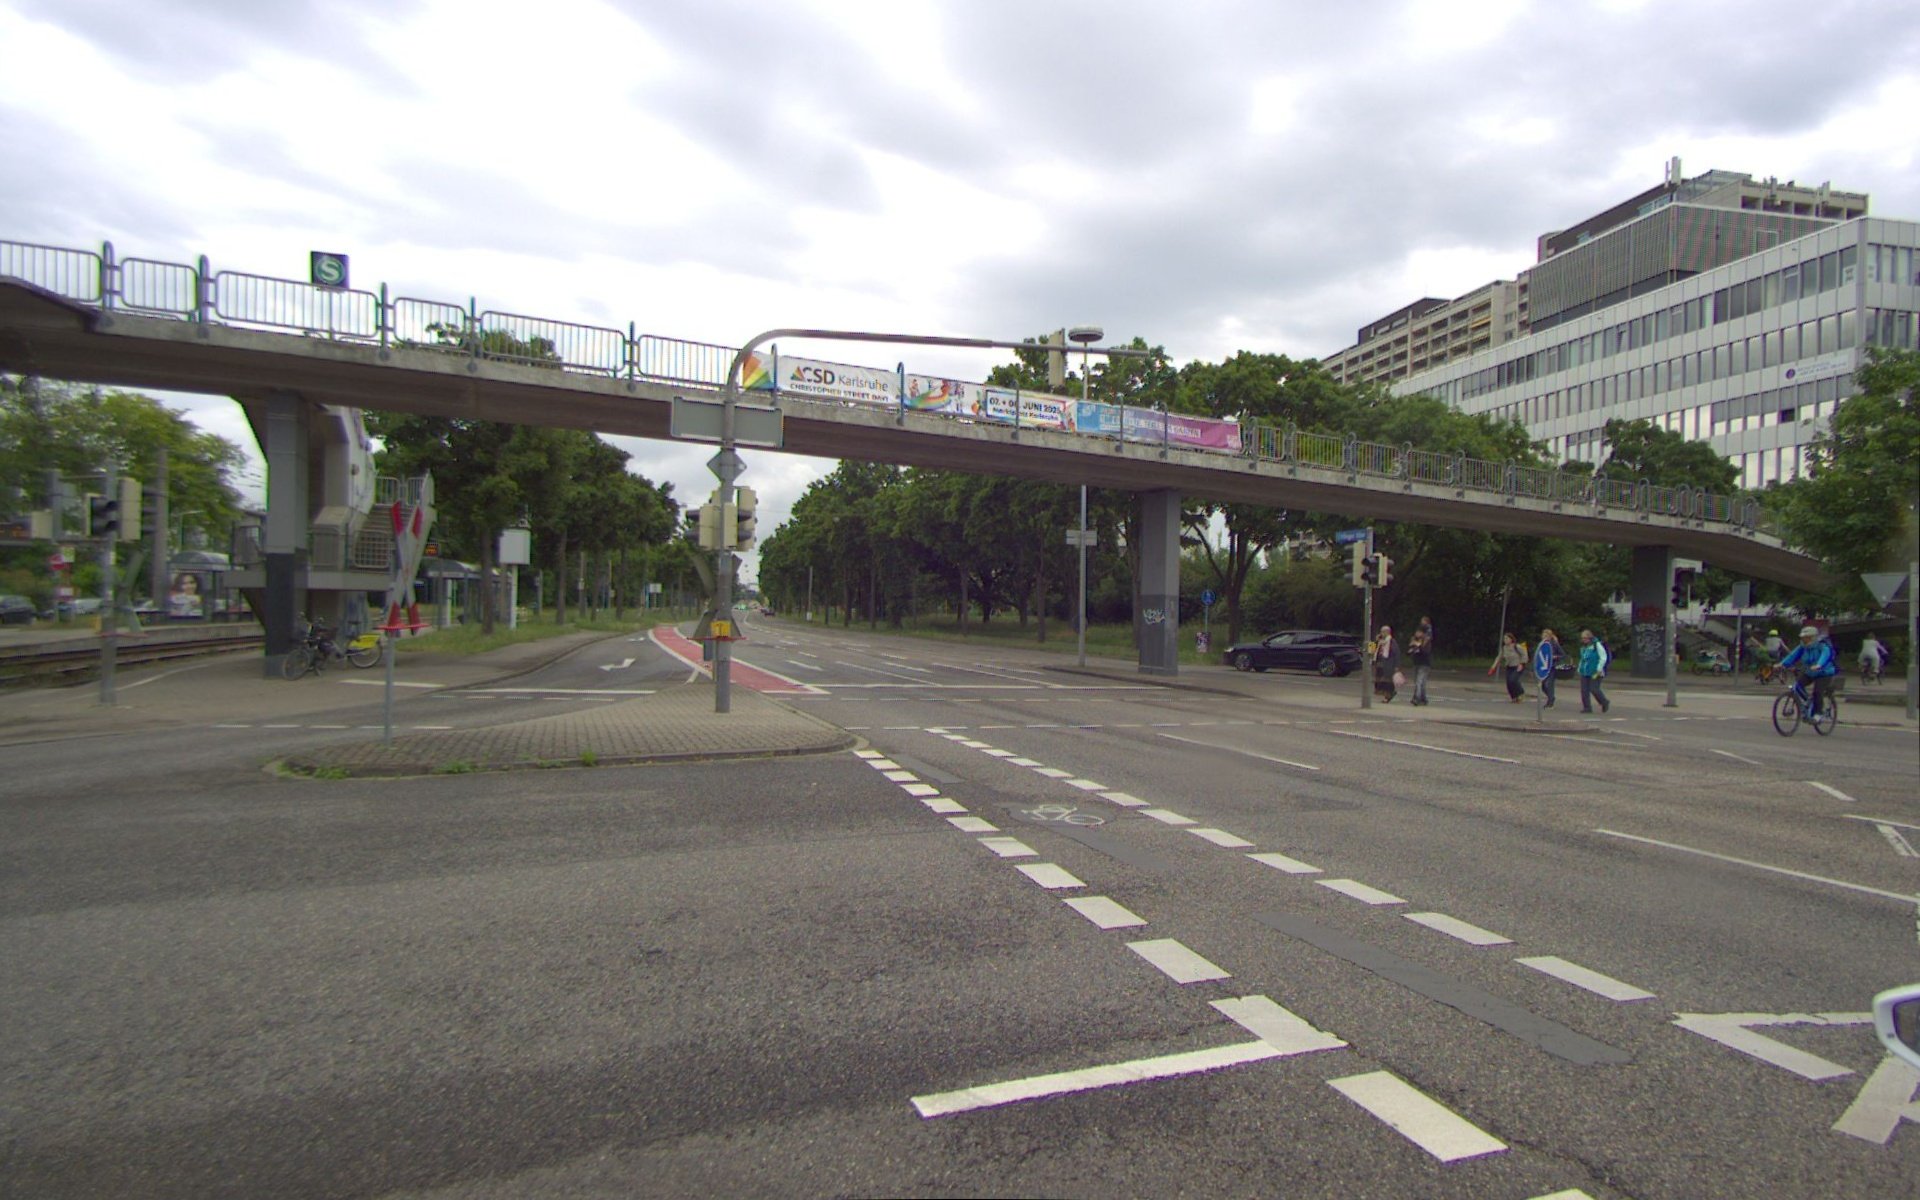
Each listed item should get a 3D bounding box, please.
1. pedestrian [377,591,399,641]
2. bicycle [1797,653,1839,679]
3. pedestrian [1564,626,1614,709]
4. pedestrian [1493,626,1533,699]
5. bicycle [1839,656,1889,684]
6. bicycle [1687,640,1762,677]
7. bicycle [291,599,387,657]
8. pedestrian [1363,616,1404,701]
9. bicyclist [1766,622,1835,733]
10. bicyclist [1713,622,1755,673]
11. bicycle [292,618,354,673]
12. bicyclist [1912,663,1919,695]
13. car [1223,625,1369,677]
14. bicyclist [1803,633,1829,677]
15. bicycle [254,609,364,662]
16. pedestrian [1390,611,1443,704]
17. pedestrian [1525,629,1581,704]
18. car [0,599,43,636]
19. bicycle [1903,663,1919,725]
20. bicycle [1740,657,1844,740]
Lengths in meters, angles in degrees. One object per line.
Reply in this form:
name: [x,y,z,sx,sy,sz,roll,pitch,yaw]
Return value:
pedestrian: [-18.565,0.517,32.585,0.553,1.585,0.332,2,-1,-27]
bicycle: [33.154,2.545,38.816,1.684,0.961,0.525,2,-1,-22]
pedestrian: [12.759,1.358,20.371,0.482,1.626,0.683,2,0,-31]
pedestrian: [12.635,1.416,22.953,0.573,1.600,0.777,1,-1,45]
bicycle: [32.215,2.495,35.795,1.930,0.961,0.758,2,-1,-30]
bicycle: [28.854,2.191,37.894,3.186,1.332,0.853,1,0,-25]
bicycle: [-12.488,0.574,20.233,0.345,1.109,1.610,1,-1,36]
pedestrian: [8.747,1.199,20.754,0.402,1.714,0.613,2,0,-40]
bicyclist: [14.036,1.283,16.781,0.638,1.792,0.642,2,0,-25]
bicyclist: [29.450,1.796,38.222,1.112,1.918,0.853,1,0,-25]
bicycle: [-11.872,0.825,18.773,0.368,0.934,2.031,1,0,-15]
bicyclist: [37.577,3.101,39.191,0.560,1.233,0.429,2,-1,-28]
car: [11.210,1.647,33.625,4.329,1.528,1.666,1,0,38]
bicyclist: [33.087,2.117,38.840,0.523,1.666,0.564,3,-1,-21]
bicycle: [-12.025,0.640,18.659,0.547,0.900,2.406,2,-1,-3]
pedestrian: [9.252,1.158,20.365,0.794,1.827,0.632,2,0,-36]
pedestrian: [12.549,1.390,21.280,0.400,1.531,0.910,2,0,-37]
car: [-42.430,0.752,44.001,1.641,1.581,3.987,2,-1,-16]
bicycle: [18.689,1.769,18.862,2.235,1.115,0.724,2,-1,-28]
bicycle: [13.741,1.600,16.576,2.084,1.284,0.541,2,-1,-28]
